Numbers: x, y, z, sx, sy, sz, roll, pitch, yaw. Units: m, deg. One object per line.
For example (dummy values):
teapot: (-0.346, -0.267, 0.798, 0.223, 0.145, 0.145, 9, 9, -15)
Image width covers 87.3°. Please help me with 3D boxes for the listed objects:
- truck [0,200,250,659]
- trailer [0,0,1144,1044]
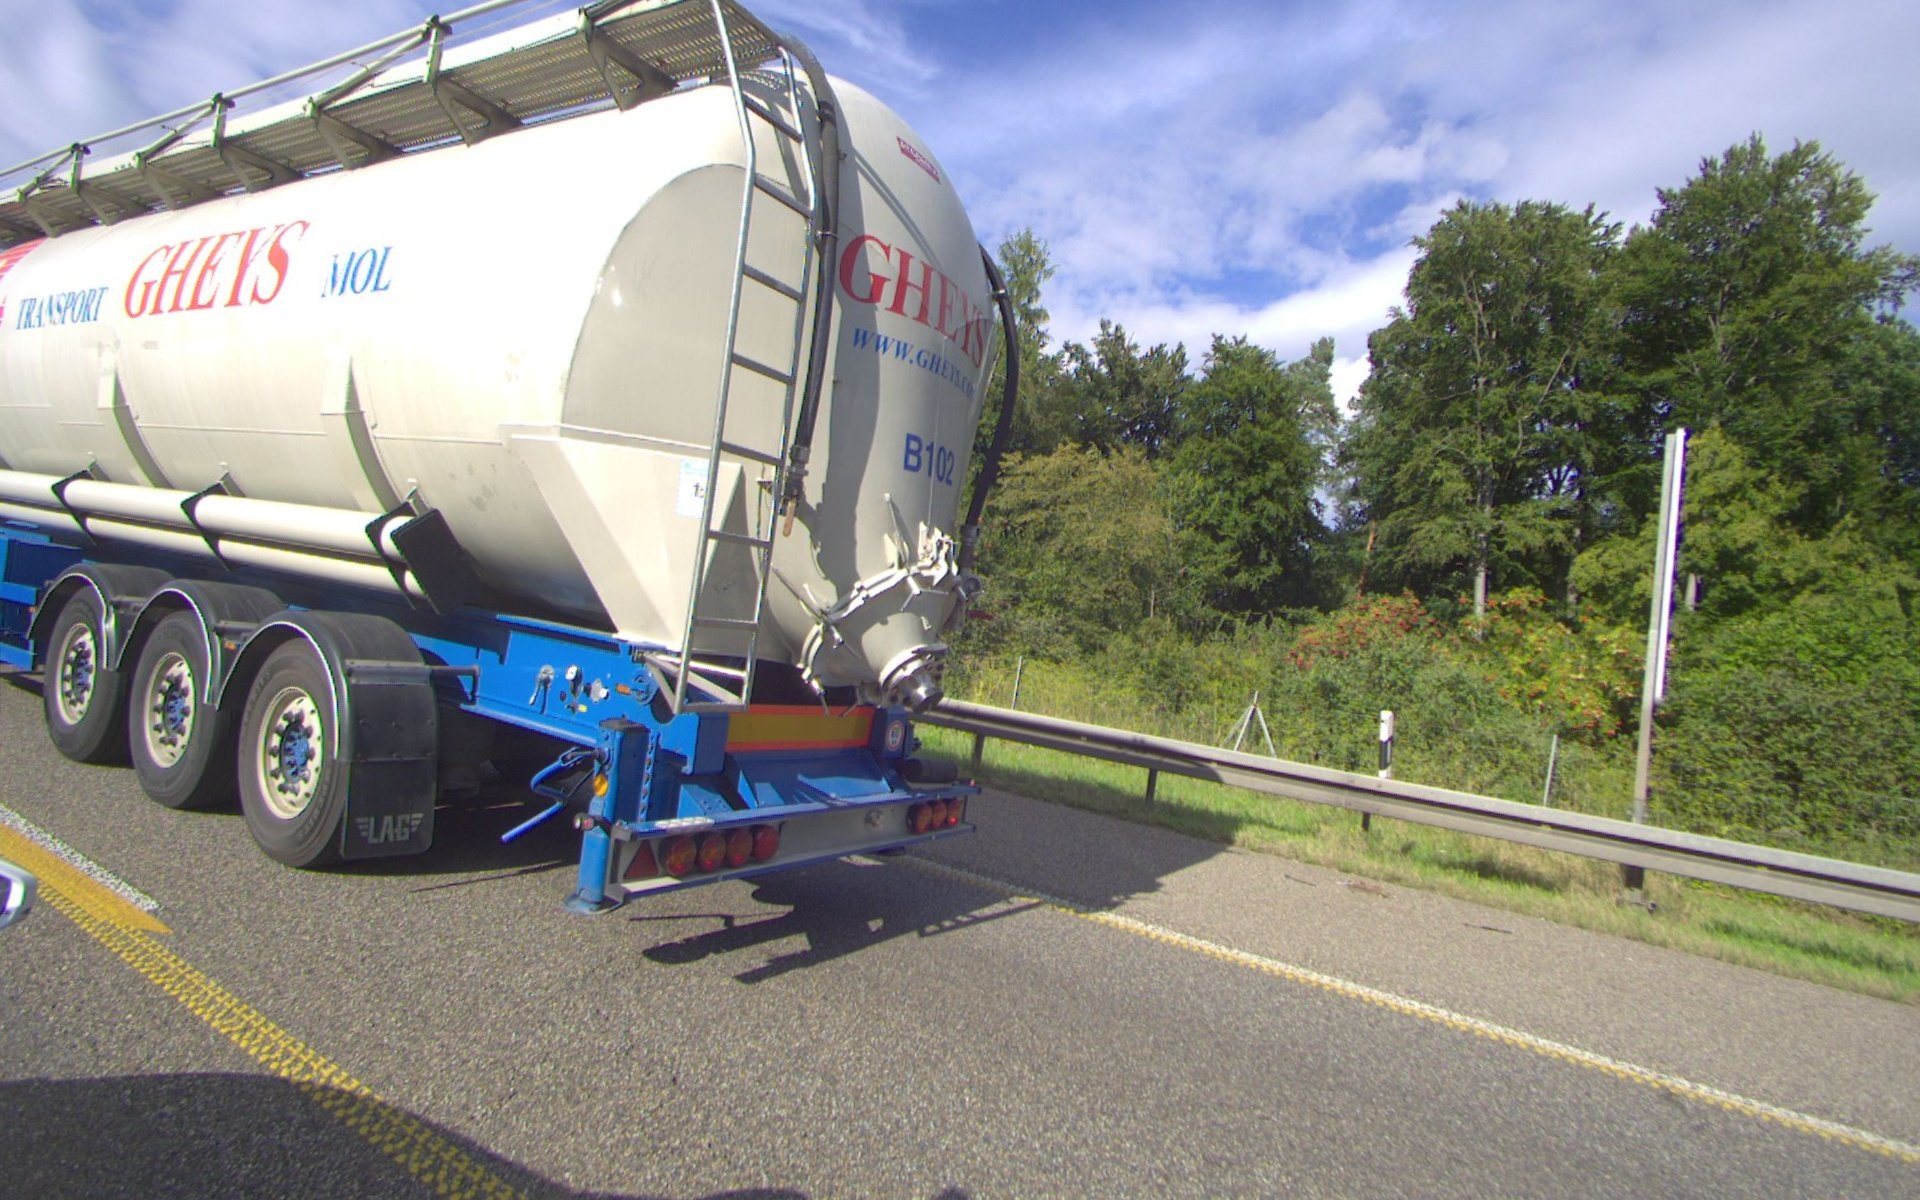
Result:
truck: (-10.850, -1.763, 11.014, 5.684, 4.018, 2.664, 6, -2, 32)
trailer: (-5.177, -1.139, 7.414, 12.390, 3.989, 2.649, 7, -1, 32)
